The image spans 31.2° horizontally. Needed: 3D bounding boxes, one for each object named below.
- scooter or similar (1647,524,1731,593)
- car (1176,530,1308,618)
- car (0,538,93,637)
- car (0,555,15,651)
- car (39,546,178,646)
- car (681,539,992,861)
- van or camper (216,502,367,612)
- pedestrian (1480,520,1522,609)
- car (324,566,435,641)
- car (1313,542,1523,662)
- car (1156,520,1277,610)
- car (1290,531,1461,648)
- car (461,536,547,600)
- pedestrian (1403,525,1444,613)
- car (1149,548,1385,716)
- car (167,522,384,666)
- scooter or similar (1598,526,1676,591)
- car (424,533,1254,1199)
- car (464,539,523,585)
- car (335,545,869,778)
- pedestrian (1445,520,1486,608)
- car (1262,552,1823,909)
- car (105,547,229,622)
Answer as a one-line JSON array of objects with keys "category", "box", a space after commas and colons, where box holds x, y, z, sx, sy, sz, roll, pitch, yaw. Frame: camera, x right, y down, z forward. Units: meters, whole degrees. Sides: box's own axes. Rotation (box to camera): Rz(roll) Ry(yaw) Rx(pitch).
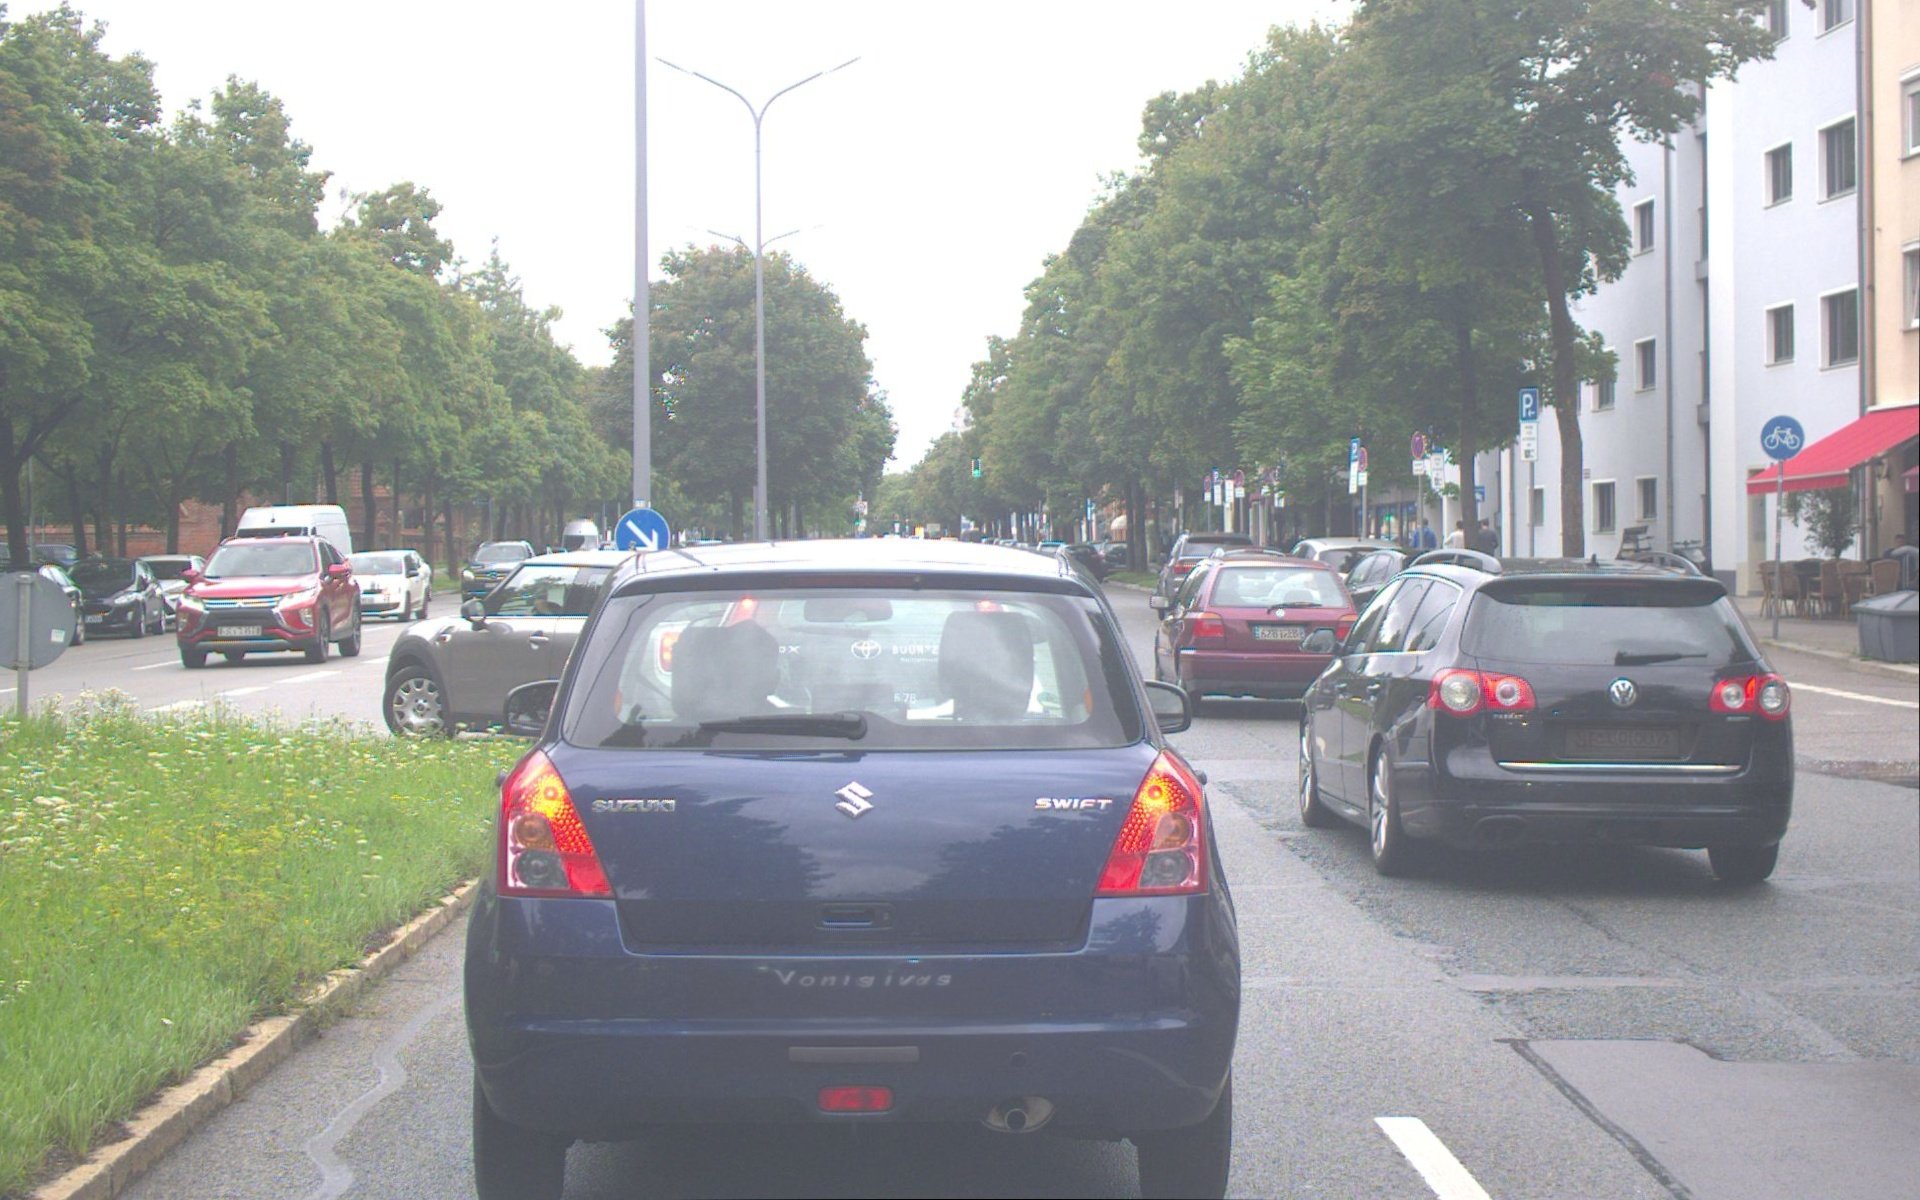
[{"category": "scooter or similar", "box": [14.079, -0.809, 66.467, 1.033, 1.303, 2.755, 0, 1, 0]}, {"category": "car", "box": [5.060, -0.501, 62.178, 1.865, 1.512, 4.225, -1, 1, -2]}, {"category": "car", "box": [-15.376, -0.232, 56.059, 1.590, 1.553, 3.879, 1, 1, -1]}, {"category": "car", "box": [-15.246, 0.057, 50.623, 1.667, 1.440, 3.879, 1, 1, -1]}, {"category": "car", "box": [-15.422, -0.099, 62.440, 1.632, 1.735, 3.879, 1, 1, -1]}, {"category": "car", "box": [-0.620, 0.436, 17.511, 1.444, 1.478, 3.107, 0, 1, -2]}, {"category": "van or camper", "box": [-15.860, -1.035, 81.945, 2.117, 2.473, 7.449, 1, 1, 0]}, {"category": "pedestrian", "box": [12.346, -0.822, 78.502, 0.794, 2.007, 1.006, 0, 1, 0]}, {"category": "car", "box": [-11.748, 0.049, 69.738, 1.618, 1.370, 3.838, -2, 1, -1]}, {"category": "car", "box": [5.818, -0.008, 44.146, 1.865, 1.412, 4.225, -1, 1, -4]}, {"category": "car", "box": [4.962, -0.705, 67.012, 1.865, 1.677, 4.225, -1, 1, -2]}, {"category": "car", "box": [5.850, -0.190, 48.834, 1.791, 1.553, 4.225, -1, 1, -1]}, {"category": "car", "box": [-12.399, -0.900, 93.648, 1.766, 1.618, 4.507, -2, 1, -1]}, {"category": "pedestrian", "box": [10.573, -0.715, 78.481, 0.794, 2.007, 1.006, 0, 1, 0]}, {"category": "car", "box": [2.697, 0.239, 30.989, 1.682, 1.379, 3.919, 1, 1, -1]}, {"category": "car", "box": [-8.824, -0.119, 44.631, 1.904, 1.690, 4.245, -3, 1, 0]}, {"category": "scooter or similar", "box": [13.823, -0.862, 70.273, 1.033, 1.303, 2.755, 0, 1, 0]}, {"category": "car", "box": [-0.304, 0.583, 8.939, 1.682, 1.496, 3.919, 0, 1, -2]}, {"category": "car", "box": [-16.325, -1.338, 120.483, 1.632, 1.577, 3.879, 1, 1, -1]}, {"category": "car", "box": [-2.531, 0.361, 23.774, 3.731, 1.458, 1.683, 1, 2, 44]}, {"category": "pedestrian", "box": [11.531, -0.830, 78.451, 0.794, 2.007, 1.006, 0, 1, 0]}, {"category": "car", "box": [2.635, 0.519, 16.611, 1.731, 1.427, 4.443, 1, 1, -3]}, {"category": "car", "box": [-15.590, -0.321, 67.772, 1.632, 1.426, 3.879, 1, 1, -1]}]
